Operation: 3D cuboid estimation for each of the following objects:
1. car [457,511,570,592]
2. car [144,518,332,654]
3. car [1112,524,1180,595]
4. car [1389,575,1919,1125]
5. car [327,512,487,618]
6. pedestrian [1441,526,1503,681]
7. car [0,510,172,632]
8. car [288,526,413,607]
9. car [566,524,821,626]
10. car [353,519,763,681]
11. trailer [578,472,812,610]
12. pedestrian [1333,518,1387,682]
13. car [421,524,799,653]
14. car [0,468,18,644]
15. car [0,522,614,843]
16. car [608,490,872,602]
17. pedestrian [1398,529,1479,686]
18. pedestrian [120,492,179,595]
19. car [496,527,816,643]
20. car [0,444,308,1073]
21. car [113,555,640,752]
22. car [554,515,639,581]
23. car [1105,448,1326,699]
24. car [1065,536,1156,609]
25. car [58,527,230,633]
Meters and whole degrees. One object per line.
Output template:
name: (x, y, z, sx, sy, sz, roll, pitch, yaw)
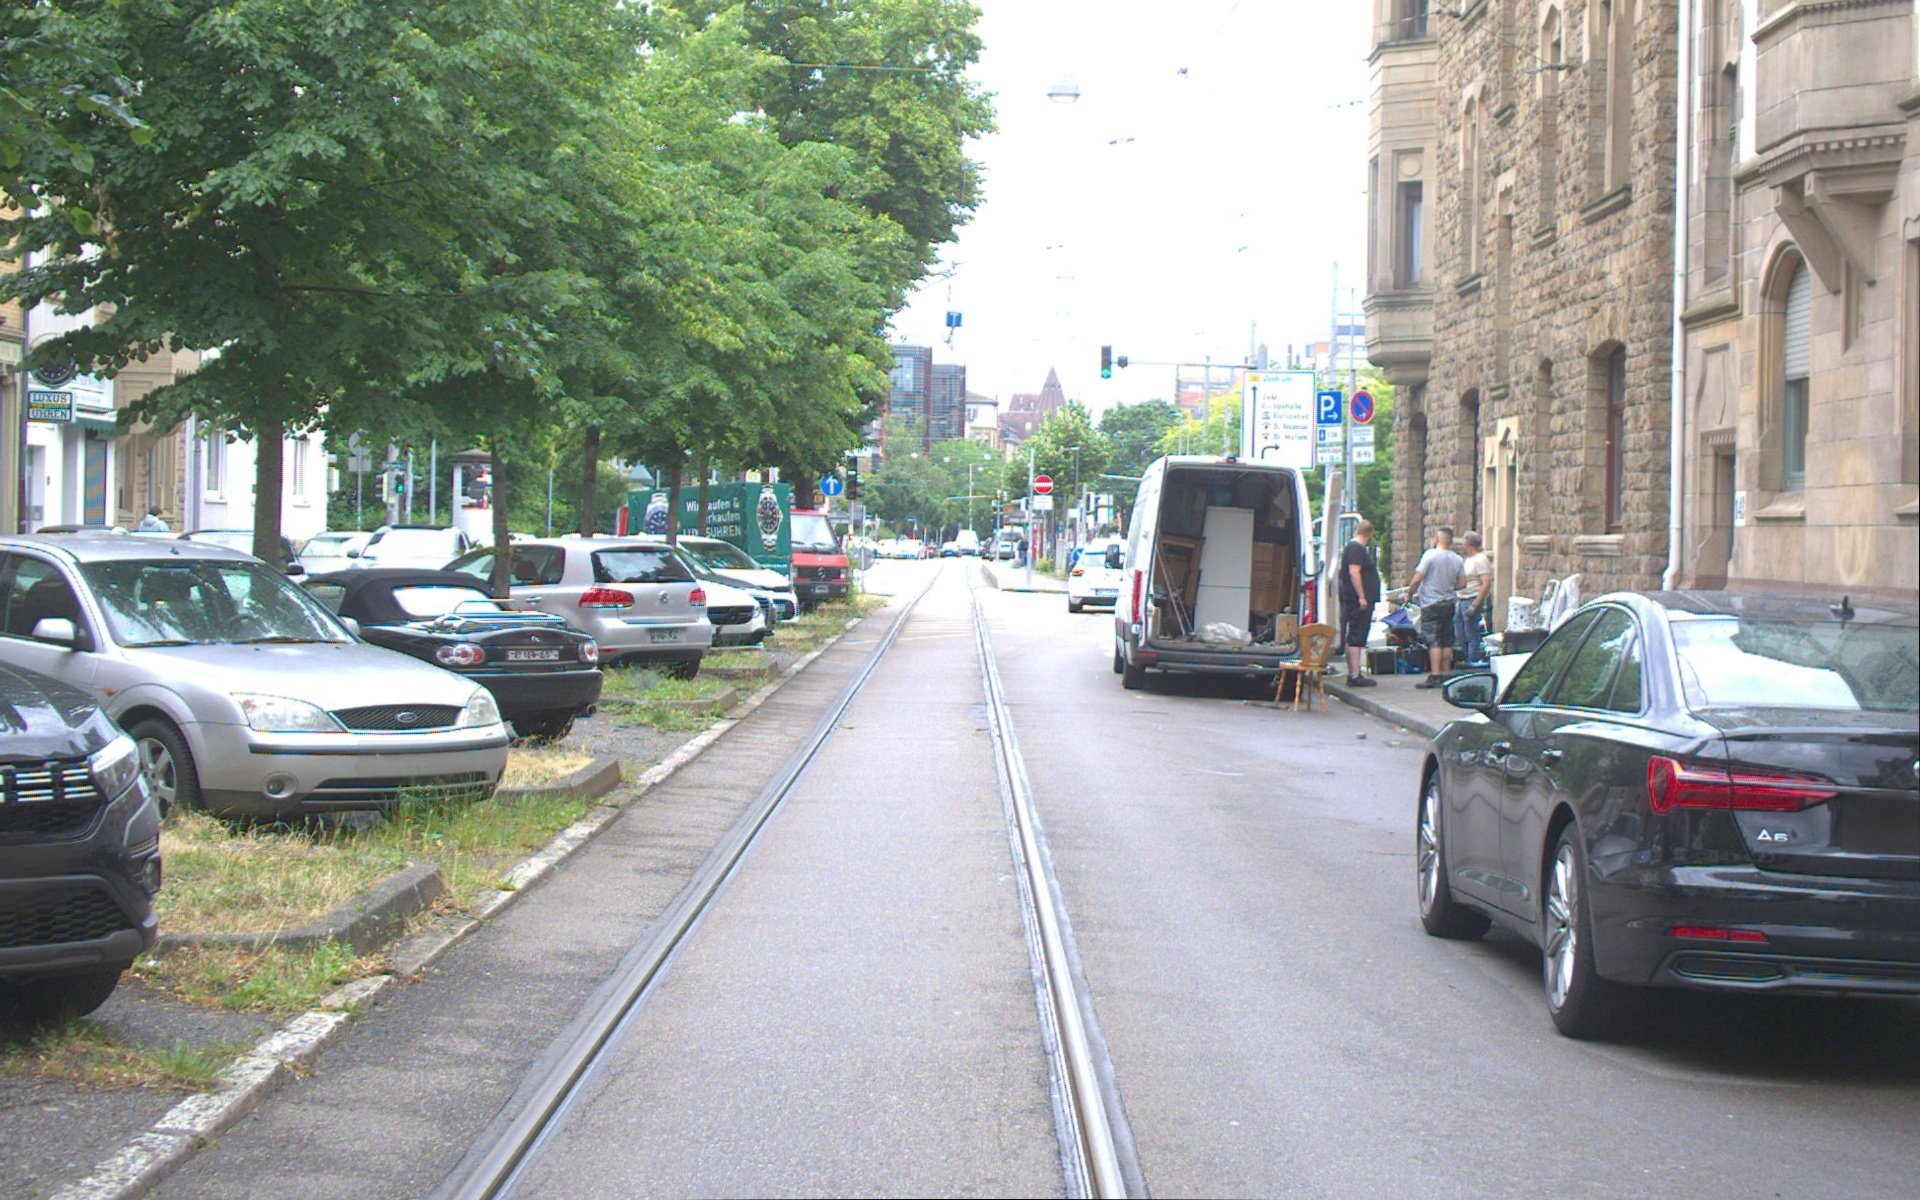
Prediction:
car: (-8.767, -0.952, 67.781, 1.644, 1.499, 4.622, 1, 1, -1)
car: (-8.467, -0.178, 40.520, 1.604, 1.509, 2.893, 1, 1, -1)
car: (5.336, -1.197, 99.101, 1.782, 1.956, 4.382, 2, 1, 2)
car: (2.780, 0.694, 12.178, 1.801, 1.433, 5.196, 2, 1, 0)
car: (-8.718, -0.559, 54.532, 1.805, 1.573, 4.547, 1, 1, -1)
pedestrian: (5.728, 0.029, 38.497, 0.507, 1.711, 0.581, -1, 1, -10)
car: (-11.763, -0.409, 46.328, 1.634, 1.545, 2.951, 1, 1, -1)
car: (-11.518, -0.657, 65.215, 1.634, 1.438, 4.571, 1, 1, -1)
car: (-4.117, -0.397, 52.758, 3.860, 1.458, 1.685, 2, 1, 42)
car: (-4.112, -0.029, 34.830, 4.114, 1.479, 1.793, 2, 1, 41)
trailer: (-4.691, -1.059, 60.731, 3.666, 2.336, 1.927, 2, 1, 33)
pedestrian: (4.467, -0.012, 38.423, 0.499, 1.809, 0.803, -1, 1, 2)
car: (-4.384, -0.169, 42.632, 4.684, 1.430, 1.894, 2, 1, 40)
car: (-11.549, -0.483, 36.172, 1.881, 1.945, 5.094, 1, 1, -1)
car: (-3.970, 0.319, 17.400, 4.665, 1.363, 1.753, 3, 1, 43)
car: (-4.102, -1.012, 63.634, 4.763, 1.967, 1.955, 2, 1, 39)
pedestrian: (5.247, 0.077, 37.673, 0.702, 1.694, 0.493, -2, 1, -27)
pedestrian: (-13.958, -0.975, 59.213, 0.797, 1.760, 0.900, 1, 1, -1)
car: (-4.176, -0.225, 46.874, 4.337, 1.430, 1.894, 2, 1, 42)
car: (-4.060, 0.353, 10.493, 4.530, 1.627, 1.761, 2, 1, 44)
car: (-4.229, 0.339, 24.571, 3.960, 1.198, 1.664, 3, 1, 44)
car: (-8.685, -1.239, 82.341, 1.644, 1.499, 3.884, 1, 1, -1)
car: (2.834, -0.344, 39.621, 2.013, 2.540, 7.016, 3, 1, 1)
car: (3.254, -0.619, 73.711, 1.783, 1.467, 4.010, 2, 1, 5)
car: (-11.872, -0.319, 50.214, 1.634, 1.438, 3.924, 1, 1, -1)
